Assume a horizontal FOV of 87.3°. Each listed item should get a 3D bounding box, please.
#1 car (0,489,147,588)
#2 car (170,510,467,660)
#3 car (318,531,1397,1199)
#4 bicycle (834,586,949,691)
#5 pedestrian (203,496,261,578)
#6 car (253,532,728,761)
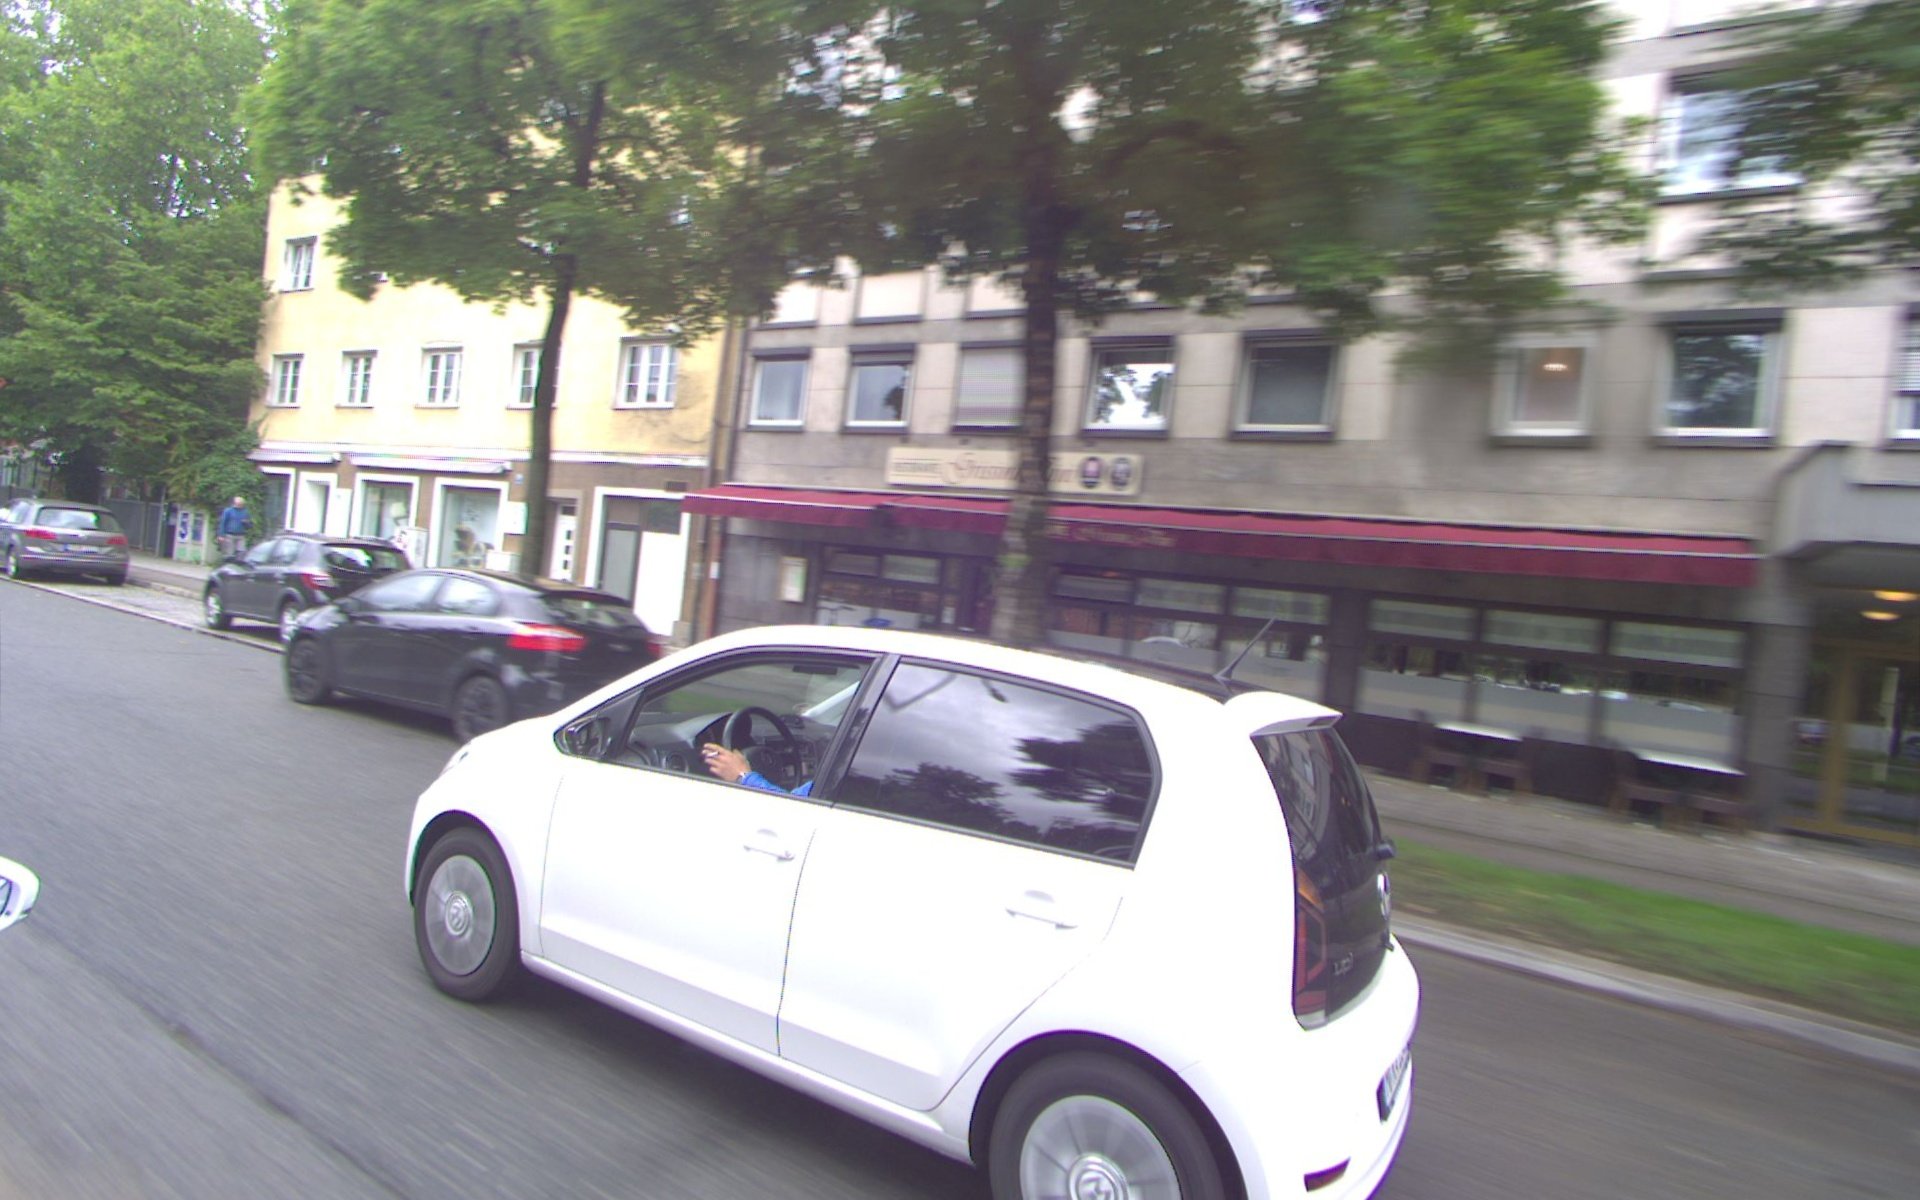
[{"bbox_3d":[-18.597,-1.314,20.531,4.237,1.646,1.816,7,1,33],"label":"car"},{"bbox_3d":[-9.631,-0.245,15.037,4.261,1.662,1.996,7,-1,32],"label":"car"},{"bbox_3d":[-0.437,0.751,3.622,3.377,1.507,1.690,7,-2,31],"label":"car"},{"bbox_3d":[-1.114,0.612,16.175,1.660,1.481,0.580,7,0,32],"label":"bicycle"},{"bbox_3d":[-17.876,-1.544,24.693,0.763,1.880,0.793,7,2,29],"label":"pedestrian"},{"bbox_3d":[-4.429,0.368,9.463,3.931,1.469,1.998,7,-1,29],"label":"car"}]
